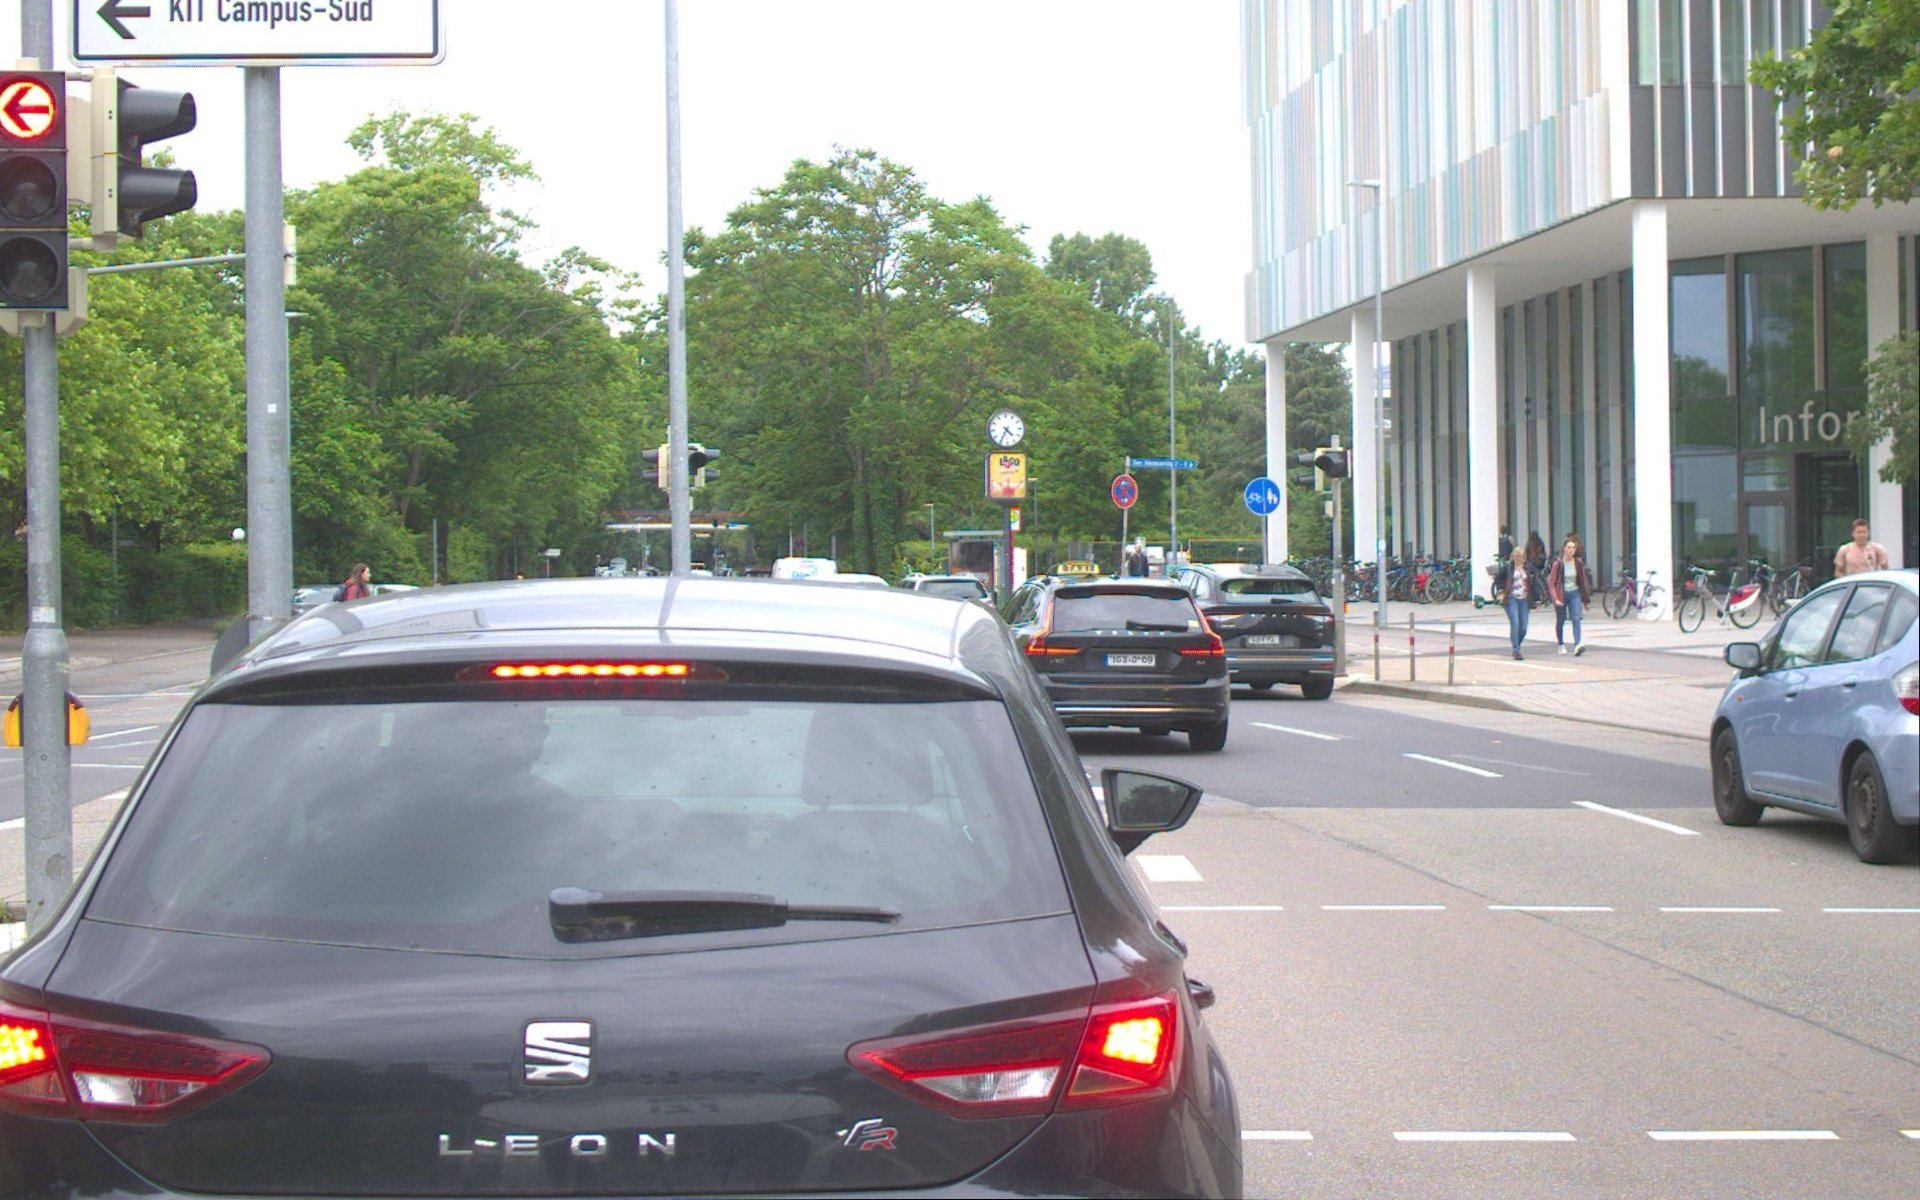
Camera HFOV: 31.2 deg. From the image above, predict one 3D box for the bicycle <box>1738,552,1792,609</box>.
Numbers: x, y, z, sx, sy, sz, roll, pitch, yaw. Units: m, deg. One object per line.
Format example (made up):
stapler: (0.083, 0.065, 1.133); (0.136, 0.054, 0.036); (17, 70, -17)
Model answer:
bicycle: (15.736, -0.394, 67.188); (0.620, 1.042, 1.703); (-2, 1, 26)

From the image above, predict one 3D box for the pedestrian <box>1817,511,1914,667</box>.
pedestrian: (10.449, -0.133, 39.688); (0.847, 1.759, 0.768); (-2, 1, -1)

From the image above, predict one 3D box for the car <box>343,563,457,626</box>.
car: (-15.675, -0.180, 96.440); (1.759, 1.582, 3.998); (-2, 1, 12)

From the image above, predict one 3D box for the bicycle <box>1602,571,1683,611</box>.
bicycle: (13.831, -0.188, 69.678); (1.479, 0.746, 0.566); (-2, 1, -4)

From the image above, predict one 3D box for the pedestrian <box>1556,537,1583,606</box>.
pedestrian: (12.182, -0.570, 68.730); (0.472, 1.357, 0.445); (-2, 1, 10)

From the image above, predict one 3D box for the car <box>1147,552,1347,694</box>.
car: (3.442, 0.231, 42.001); (1.907, 1.619, 4.491); (1, 1, -2)

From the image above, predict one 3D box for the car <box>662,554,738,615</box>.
car: (-6.430, -0.403, 84.692); (1.722, 1.409, 4.246); (0, 1, -6)

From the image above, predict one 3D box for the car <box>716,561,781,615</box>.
car: (-7.363, -0.442, 120.241); (1.993, 1.728, 4.210); (-2, 1, -1)

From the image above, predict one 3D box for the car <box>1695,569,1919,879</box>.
car: (5.198, 0.572, 18.216); (1.666, 1.461, 3.660); (0, 1, -3)

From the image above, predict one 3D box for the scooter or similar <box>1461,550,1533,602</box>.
scooter or similar: (12.231, -0.555, 78.312); (1.671, 1.103, 0.499); (-3, 1, -32)

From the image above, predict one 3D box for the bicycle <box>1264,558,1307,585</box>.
bicycle: (10.127, -0.893, 106.864); (1.234, 0.820, 0.482); (1, 0, -22)

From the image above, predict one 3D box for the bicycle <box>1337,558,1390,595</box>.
bicycle: (10.782, -0.623, 91.859); (1.387, 0.938, 0.487); (-1, 1, 7)

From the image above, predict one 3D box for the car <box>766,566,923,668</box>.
car: (-1.783, 0.226, 51.843); (1.781, 1.458, 3.872); (0, 1, -11)

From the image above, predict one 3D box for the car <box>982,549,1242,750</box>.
car: (1.223, 0.366, 29.557); (1.883, 1.594, 4.447); (0, 1, -2)

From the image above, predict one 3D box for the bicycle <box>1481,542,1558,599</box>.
bicycle: (12.646, -0.674, 77.733); (1.772, 1.207, 0.570); (-3, 1, -34)

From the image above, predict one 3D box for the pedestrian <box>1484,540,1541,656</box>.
pedestrian: (7.874, -0.037, 48.994); (0.687, 1.634, 0.633); (0, 1, -1)

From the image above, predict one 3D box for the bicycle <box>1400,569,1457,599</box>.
bicycle: (11.724, -0.397, 85.995); (1.375, 0.703, 0.489); (-2, 1, 8)

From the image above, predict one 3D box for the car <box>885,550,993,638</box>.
car: (-0.357, -0.095, 63.316); (1.825, 1.545, 4.527); (1, 0, 2)

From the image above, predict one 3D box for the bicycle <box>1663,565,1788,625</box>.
bicycle: (12.517, -0.081, 56.200); (1.886, 0.895, 0.697); (-3, 1, -21)

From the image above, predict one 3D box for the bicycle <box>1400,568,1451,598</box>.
bicycle: (11.762, -0.420, 86.887); (1.240, 0.703, 0.489); (-2, 1, 8)

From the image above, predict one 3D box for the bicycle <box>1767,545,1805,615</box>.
bicycle: (15.470, -0.383, 64.395); (0.526, 1.248, 1.664); (-2, 1, 18)

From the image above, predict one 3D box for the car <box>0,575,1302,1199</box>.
car: (-0.442, 0.702, 5.758); (1.753, 1.427, 3.769); (1, 1, 2)

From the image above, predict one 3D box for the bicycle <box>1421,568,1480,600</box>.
bicycle: (12.010, -0.391, 84.198); (1.374, 0.703, 0.416); (-2, 1, 2)

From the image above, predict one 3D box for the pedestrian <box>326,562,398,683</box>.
pedestrian: (-8.078, 0.296, 46.446); (0.874, 1.581, 0.543); (-2, 1, -7)

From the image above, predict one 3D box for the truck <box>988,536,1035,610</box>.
truck: (1.620, -0.879, 108.667); (1.317, 2.235, 3.402); (-2, 1, -1)

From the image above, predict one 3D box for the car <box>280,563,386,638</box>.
car: (-15.715, -0.005, 86.309); (1.906, 1.711, 4.000); (-2, 1, -1)

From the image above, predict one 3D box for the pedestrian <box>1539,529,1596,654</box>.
pedestrian: (8.660, -0.127, 49.020); (0.687, 1.775, 0.677); (-1, 1, -1)

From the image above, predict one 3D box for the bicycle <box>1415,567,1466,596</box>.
bicycle: (12.237, -0.472, 87.568); (1.273, 0.703, 0.485); (-2, 1, 7)

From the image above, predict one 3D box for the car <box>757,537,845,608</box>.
car: (-4.576, -0.811, 98.388); (1.966, 1.965, 4.345); (1, 1, -10)
